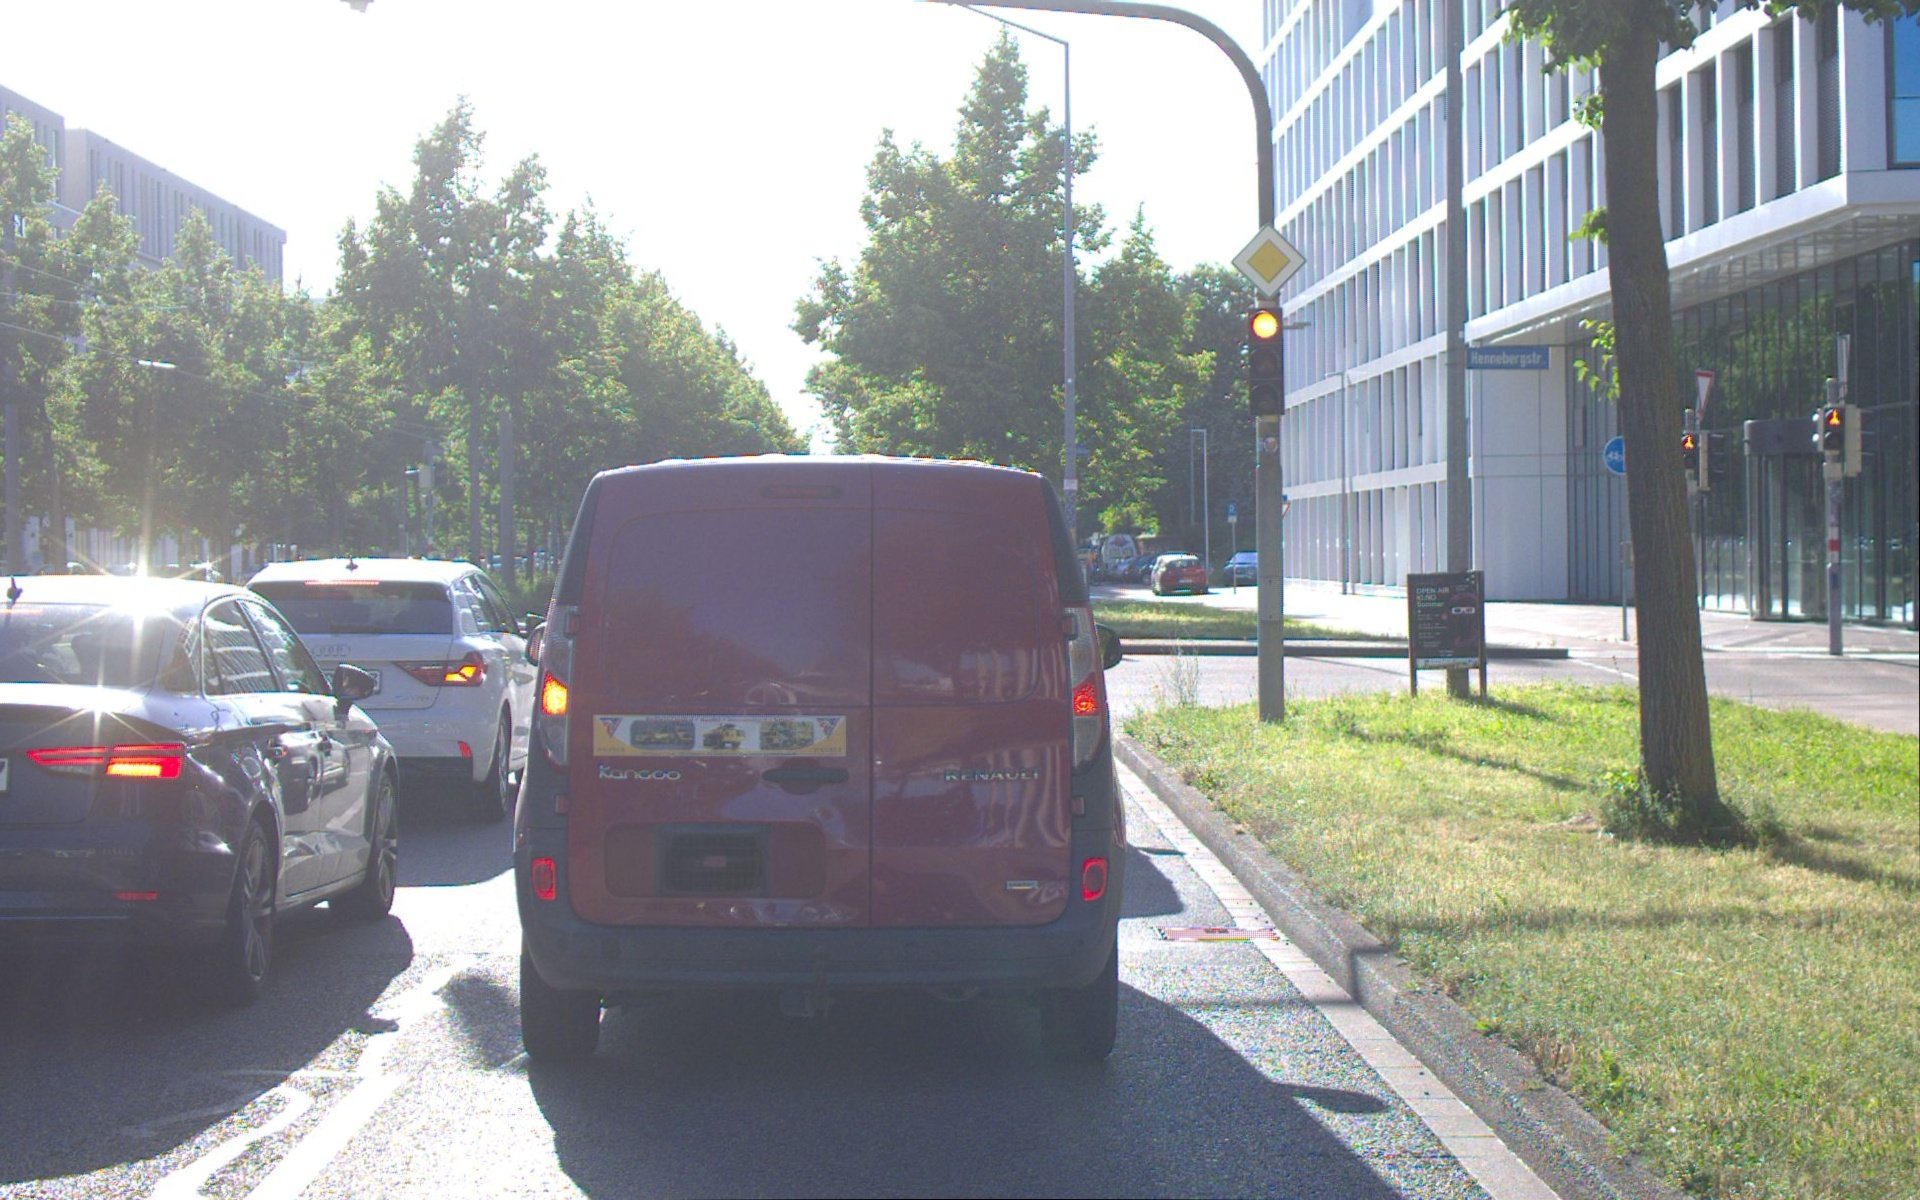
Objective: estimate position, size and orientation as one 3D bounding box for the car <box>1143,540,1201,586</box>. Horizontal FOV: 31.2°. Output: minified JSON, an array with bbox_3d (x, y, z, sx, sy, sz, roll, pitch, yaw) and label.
[{"bbox_3d":[8.333,-1.470,135.256,1.993,1.776,4.000,0,1,-1],"label":"car"}]

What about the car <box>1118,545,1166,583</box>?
[{"bbox_3d":[8.627,-1.718,162.957,1.993,1.776,4.000,0,1,-1],"label":"car"}]

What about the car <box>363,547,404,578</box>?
[{"bbox_3d":[-37.753,-2.486,225.174,1.993,2.007,4.000,0,1,-1],"label":"car"}]

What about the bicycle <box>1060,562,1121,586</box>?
[{"bbox_3d":[5.863,-1.176,155.027,2.642,1.102,0.949,0,1,34],"label":"bicycle"}]

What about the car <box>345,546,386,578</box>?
[{"bbox_3d":[-37.960,-2.441,219.549,1.993,2.007,4.000,0,1,-1],"label":"car"}]

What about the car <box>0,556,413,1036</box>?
[{"bbox_3d":[-3.228,0.563,12.475,1.842,1.421,4.339,0,1,-1],"label":"car"}]

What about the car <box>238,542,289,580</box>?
[{"bbox_3d":[-37.402,-2.099,184.717,1.993,2.007,4.000,0,1,-1],"label":"car"}]

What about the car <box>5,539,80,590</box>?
[{"bbox_3d":[-37.038,-1.441,138.803,1.993,2.007,4.000,0,1,-1],"label":"car"}]

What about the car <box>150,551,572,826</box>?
[{"bbox_3d":[-3.347,0.433,19.903,1.803,1.421,3.901,0,1,-1],"label":"car"}]

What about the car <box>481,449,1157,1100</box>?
[{"bbox_3d":[-0.409,0.442,11.389,1.842,1.774,4.000,0,1,-1],"label":"car"}]

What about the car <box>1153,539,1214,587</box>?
[{"bbox_3d":[8.445,-1.419,130.247,1.993,1.776,4.000,0,1,-1],"label":"car"}]

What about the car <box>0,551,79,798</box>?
[{"bbox_3d":[-6.699,0.428,20.697,1.799,1.478,4.569,3,1,-3],"label":"car"}]

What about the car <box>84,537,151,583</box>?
[{"bbox_3d":[-37.129,-1.783,151.630,1.993,2.007,4.000,0,1,-1],"label":"car"}]

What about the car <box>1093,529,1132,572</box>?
[{"bbox_3d":[8.882,-2.896,200.667,1.993,2.488,4.987,0,1,-1],"label":"car"}]

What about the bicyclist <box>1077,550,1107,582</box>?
[{"bbox_3d":[5.944,-1.545,154.962,0.986,1.432,0.949,0,1,34],"label":"bicyclist"}]
